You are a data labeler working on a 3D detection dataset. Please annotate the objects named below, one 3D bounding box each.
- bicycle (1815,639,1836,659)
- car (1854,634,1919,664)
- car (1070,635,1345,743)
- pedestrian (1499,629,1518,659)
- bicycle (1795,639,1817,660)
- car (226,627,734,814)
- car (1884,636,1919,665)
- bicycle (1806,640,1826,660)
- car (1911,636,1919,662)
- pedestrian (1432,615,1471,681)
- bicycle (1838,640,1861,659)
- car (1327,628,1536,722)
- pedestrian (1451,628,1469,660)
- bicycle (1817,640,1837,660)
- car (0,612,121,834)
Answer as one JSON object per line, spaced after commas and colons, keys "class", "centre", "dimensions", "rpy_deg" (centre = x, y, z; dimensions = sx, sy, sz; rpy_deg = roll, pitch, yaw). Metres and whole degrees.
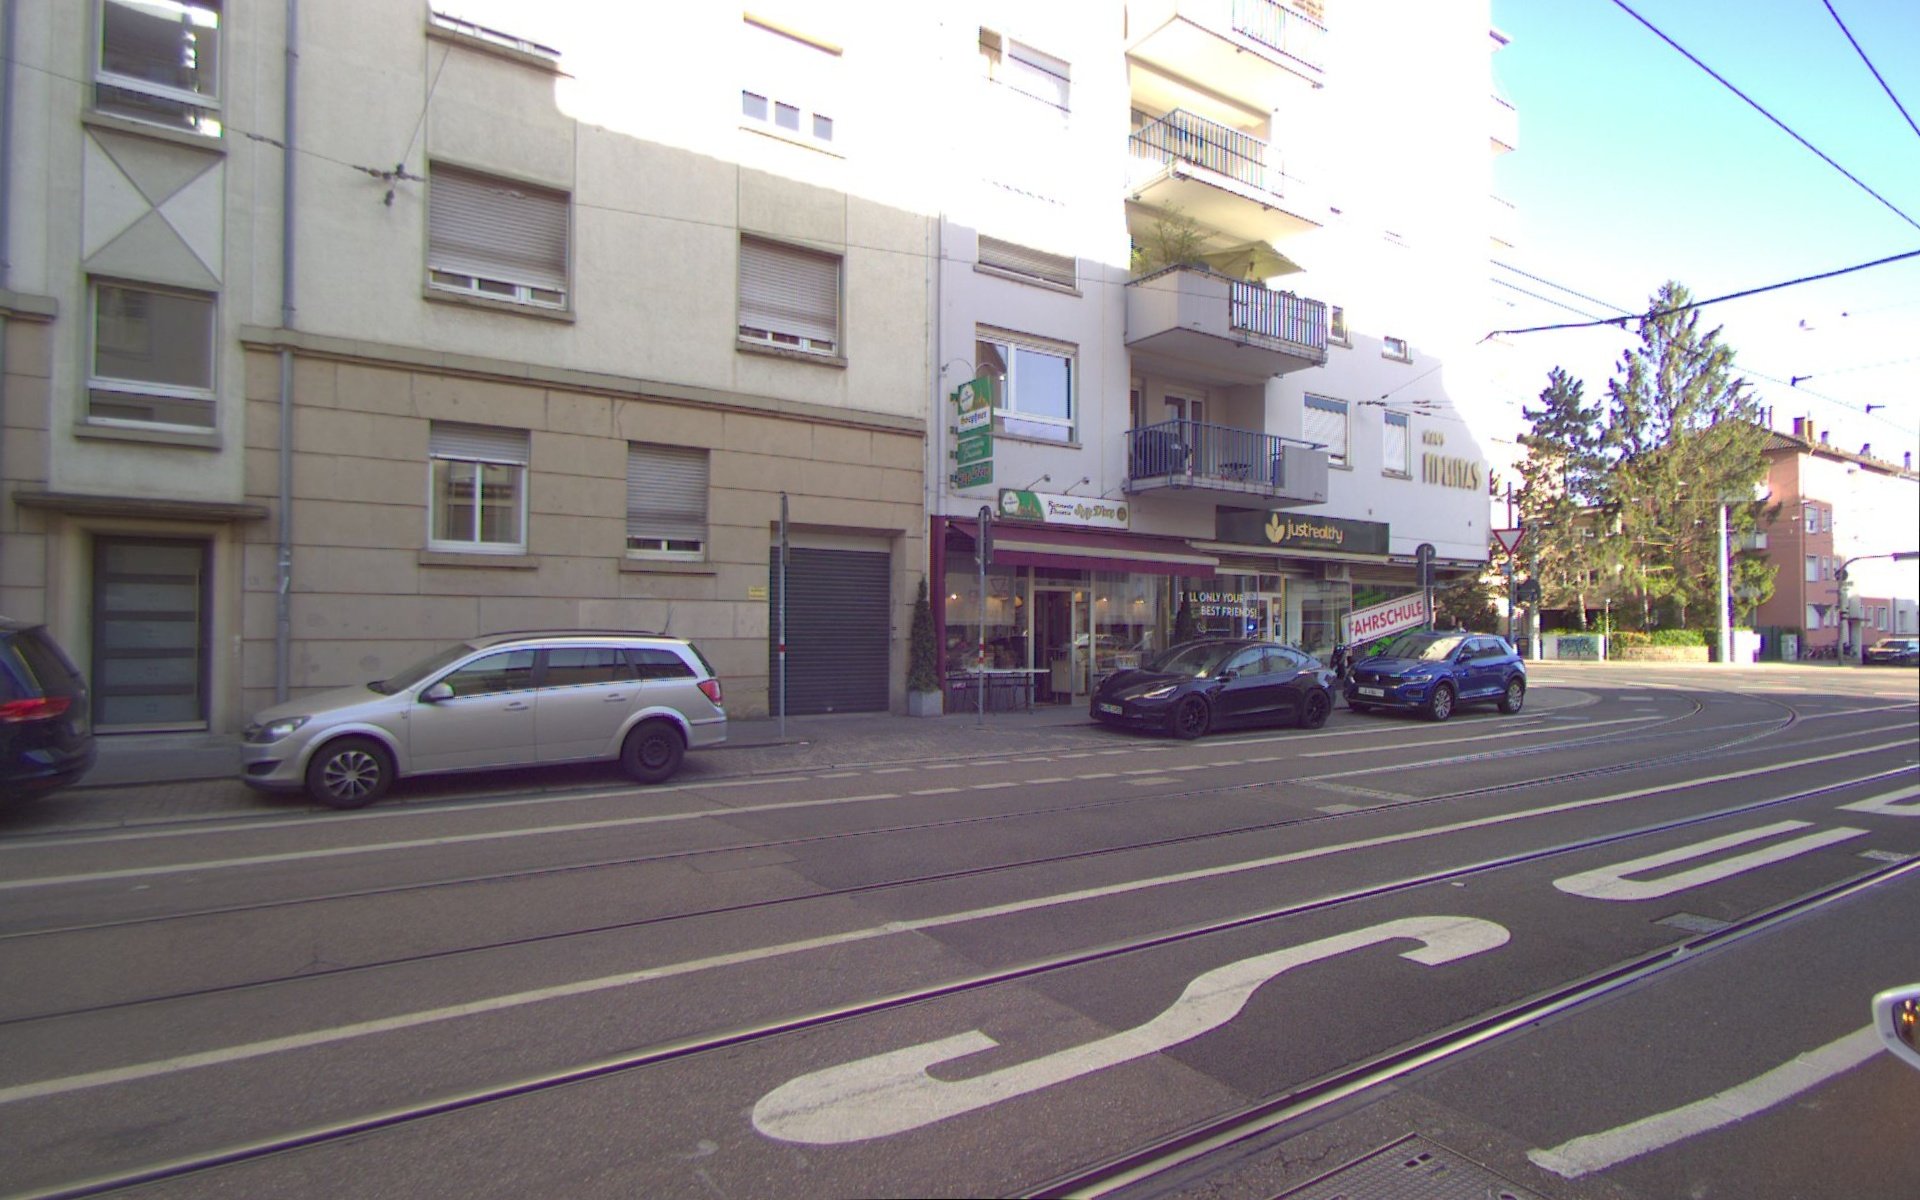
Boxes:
{"class": "bicycle", "centre": [50.749, 2.864, 58.887], "dimensions": [1.892, 1.097, 0.533], "rpy_deg": [1, -2, -37]}
{"class": "car", "centre": [49.734, 2.619, 53.789], "dimensions": [3.961, 1.539, 1.938], "rpy_deg": [1, -2, -36]}
{"class": "car", "centre": [4.024, 1.318, 16.042], "dimensions": [4.442, 1.422, 1.714], "rpy_deg": [1, 1, -34]}
{"class": "pedestrian", "centre": [31.517, 2.527, 57.684], "dimensions": [0.800, 1.725, 0.676], "rpy_deg": [-1, -2, 44]}
{"class": "bicycle", "centre": [46.891, 2.728, 55.638], "dimensions": [1.895, 1.097, 0.634], "rpy_deg": [2, -2, -41]}
{"class": "car", "centre": [-4.694, 1.052, 10.213], "dimensions": [4.343, 1.497, 1.785], "rpy_deg": [1, -1, -34]}
{"class": "car", "centre": [54.282, 2.843, 57.019], "dimensions": [4.006, 1.539, 1.938], "rpy_deg": [1, -2, -36]}
{"class": "bicycle", "centre": [47.187, 2.738, 55.346], "dimensions": [1.895, 1.097, 0.532], "rpy_deg": [2, -2, -41]}
{"class": "car", "centre": [58.136, 2.900, 59.458], "dimensions": [3.961, 1.539, 1.938], "rpy_deg": [1, -2, -36]}
{"class": "pedestrian", "centre": [14.022, 1.355, 28.673], "dimensions": [0.707, 1.859, 0.771], "rpy_deg": [0, -1, -3]}
{"class": "bicycle", "centre": [53.165, 2.942, 60.031], "dimensions": [1.892, 1.097, 0.605], "rpy_deg": [1, -2, -37]}
{"class": "car", "centre": [9.003, 1.348, 19.085], "dimensions": [4.072, 1.525, 1.714], "rpy_deg": [1, 1, -34]}
{"class": "pedestrian", "centre": [27.187, 2.392, 54.640], "dimensions": [0.798, 1.725, 0.604], "rpy_deg": [-1, -2, 37]}
{"class": "bicycle", "centre": [47.614, 2.750, 55.170], "dimensions": [1.895, 1.097, 0.532], "rpy_deg": [2, -2, -41]}
{"class": "car", "centre": [-8.982, 0.882, 7.190], "dimensions": [4.343, 1.620, 1.785], "rpy_deg": [1, -1, -34]}
